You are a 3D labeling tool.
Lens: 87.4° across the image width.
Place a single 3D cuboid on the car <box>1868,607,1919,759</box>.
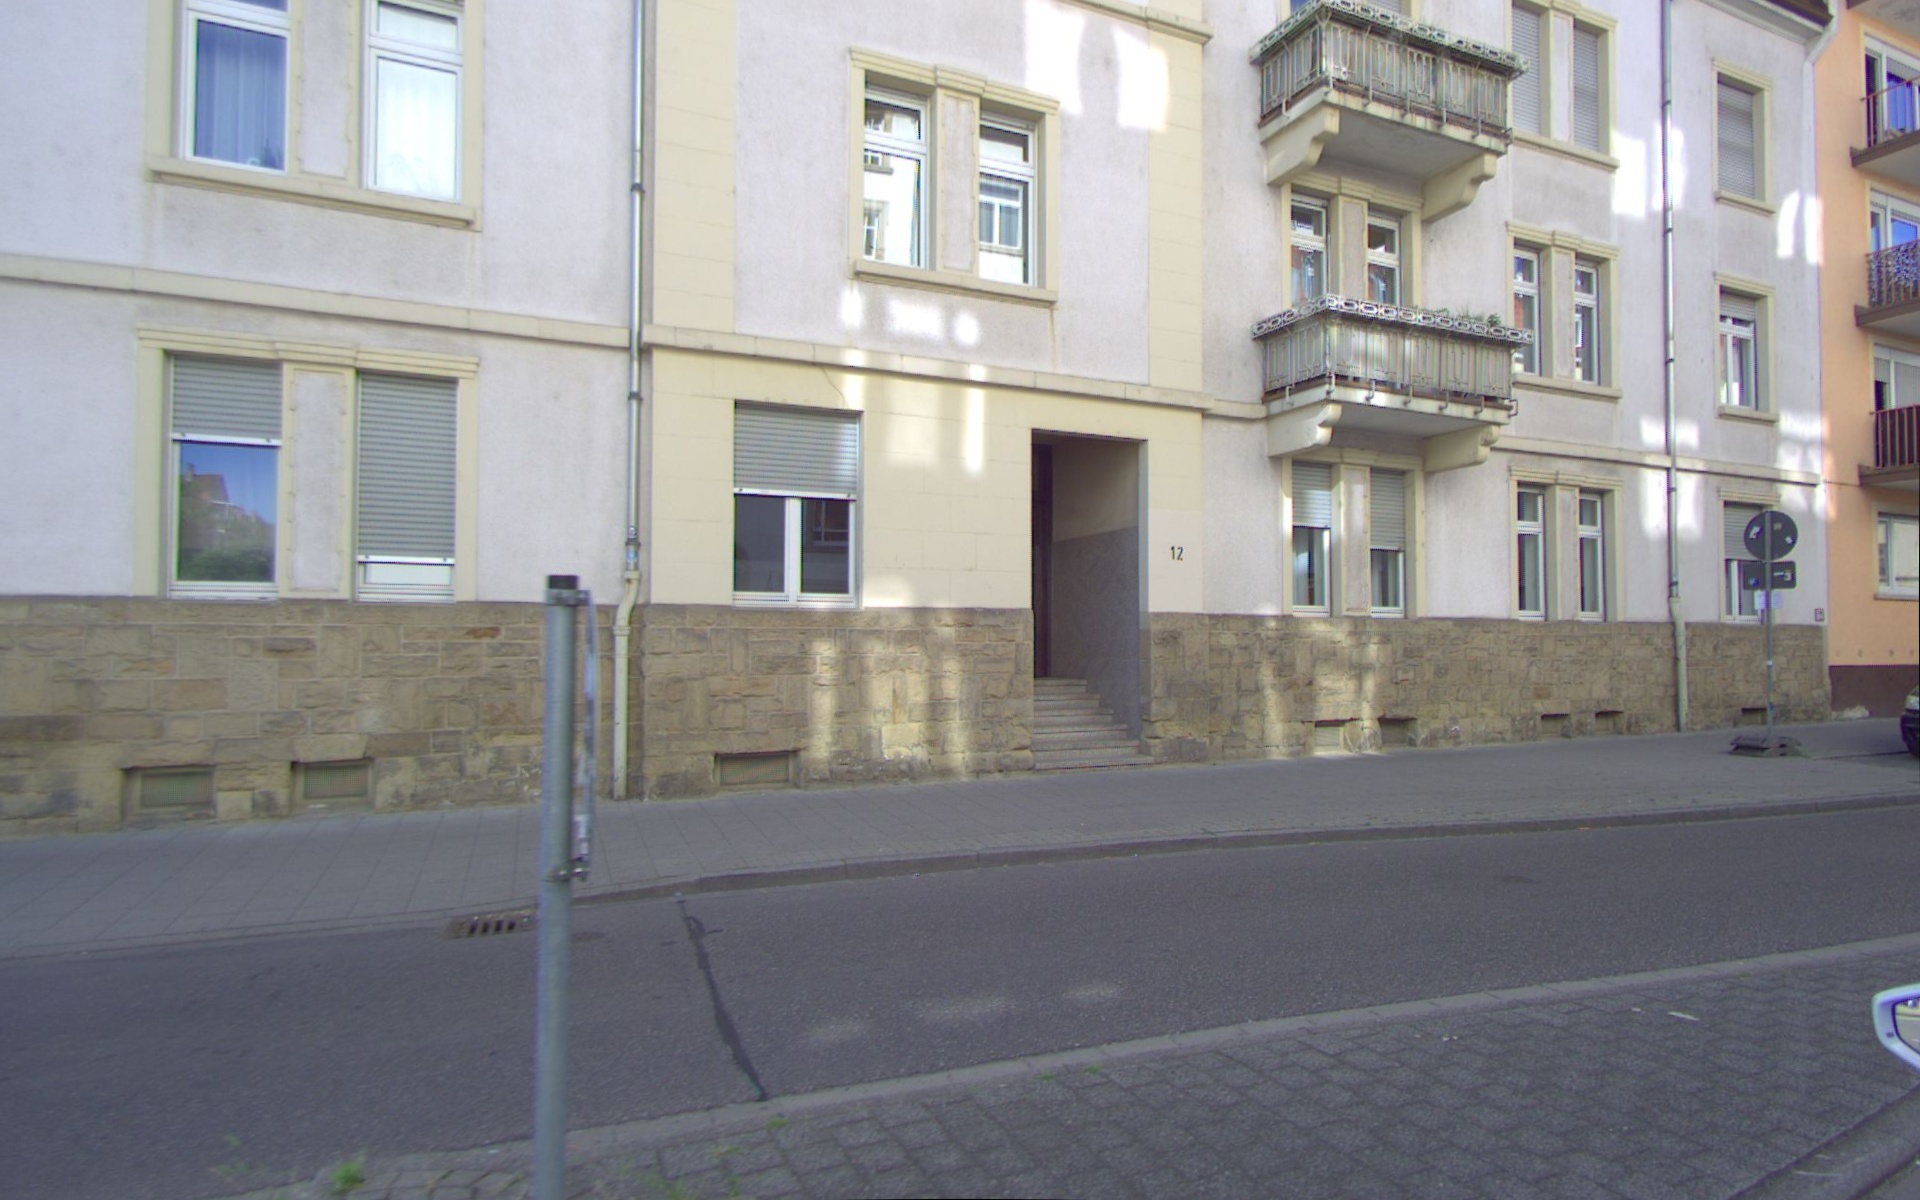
[{"bbox_3d":[13.452,1.005,12.405,4.234,1.794,1.758,1,-2,-24],"label":"car"}]
